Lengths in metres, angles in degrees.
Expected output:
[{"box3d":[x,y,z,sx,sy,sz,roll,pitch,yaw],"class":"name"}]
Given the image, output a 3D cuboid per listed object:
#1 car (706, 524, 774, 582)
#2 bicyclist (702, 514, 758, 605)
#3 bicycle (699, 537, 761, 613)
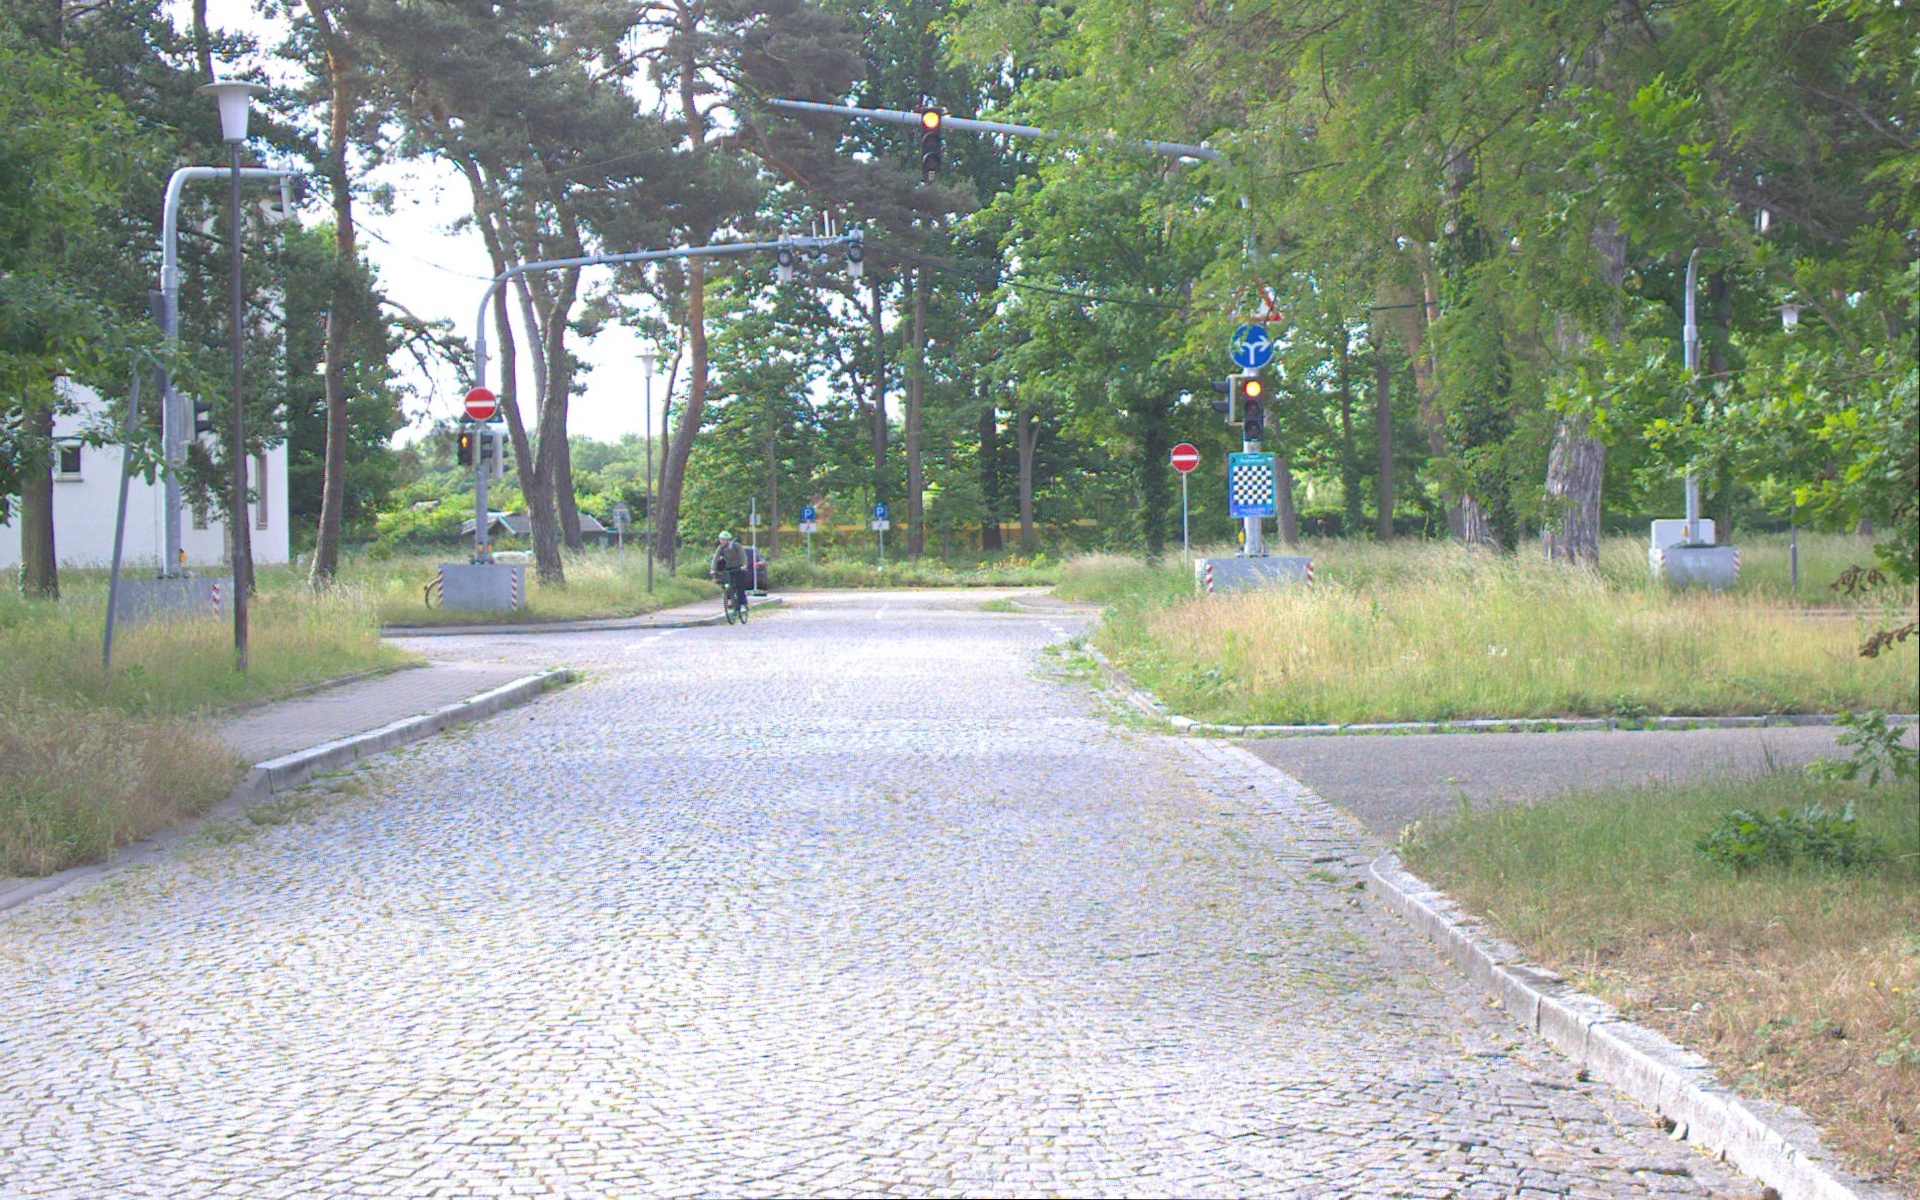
[{"box3d":[-7.233,-1.567,113.429,2.056,1.840,4.000,-1,1,-1],"class":"car"},{"box3d":[-4.322,-0.758,64.701,0.954,1.691,0.923,-1,0,2],"class":"bicyclist"},{"box3d":[-4.315,-0.482,64.730,0.936,1.382,2.186,-1,1,2],"class":"bicycle"}]
